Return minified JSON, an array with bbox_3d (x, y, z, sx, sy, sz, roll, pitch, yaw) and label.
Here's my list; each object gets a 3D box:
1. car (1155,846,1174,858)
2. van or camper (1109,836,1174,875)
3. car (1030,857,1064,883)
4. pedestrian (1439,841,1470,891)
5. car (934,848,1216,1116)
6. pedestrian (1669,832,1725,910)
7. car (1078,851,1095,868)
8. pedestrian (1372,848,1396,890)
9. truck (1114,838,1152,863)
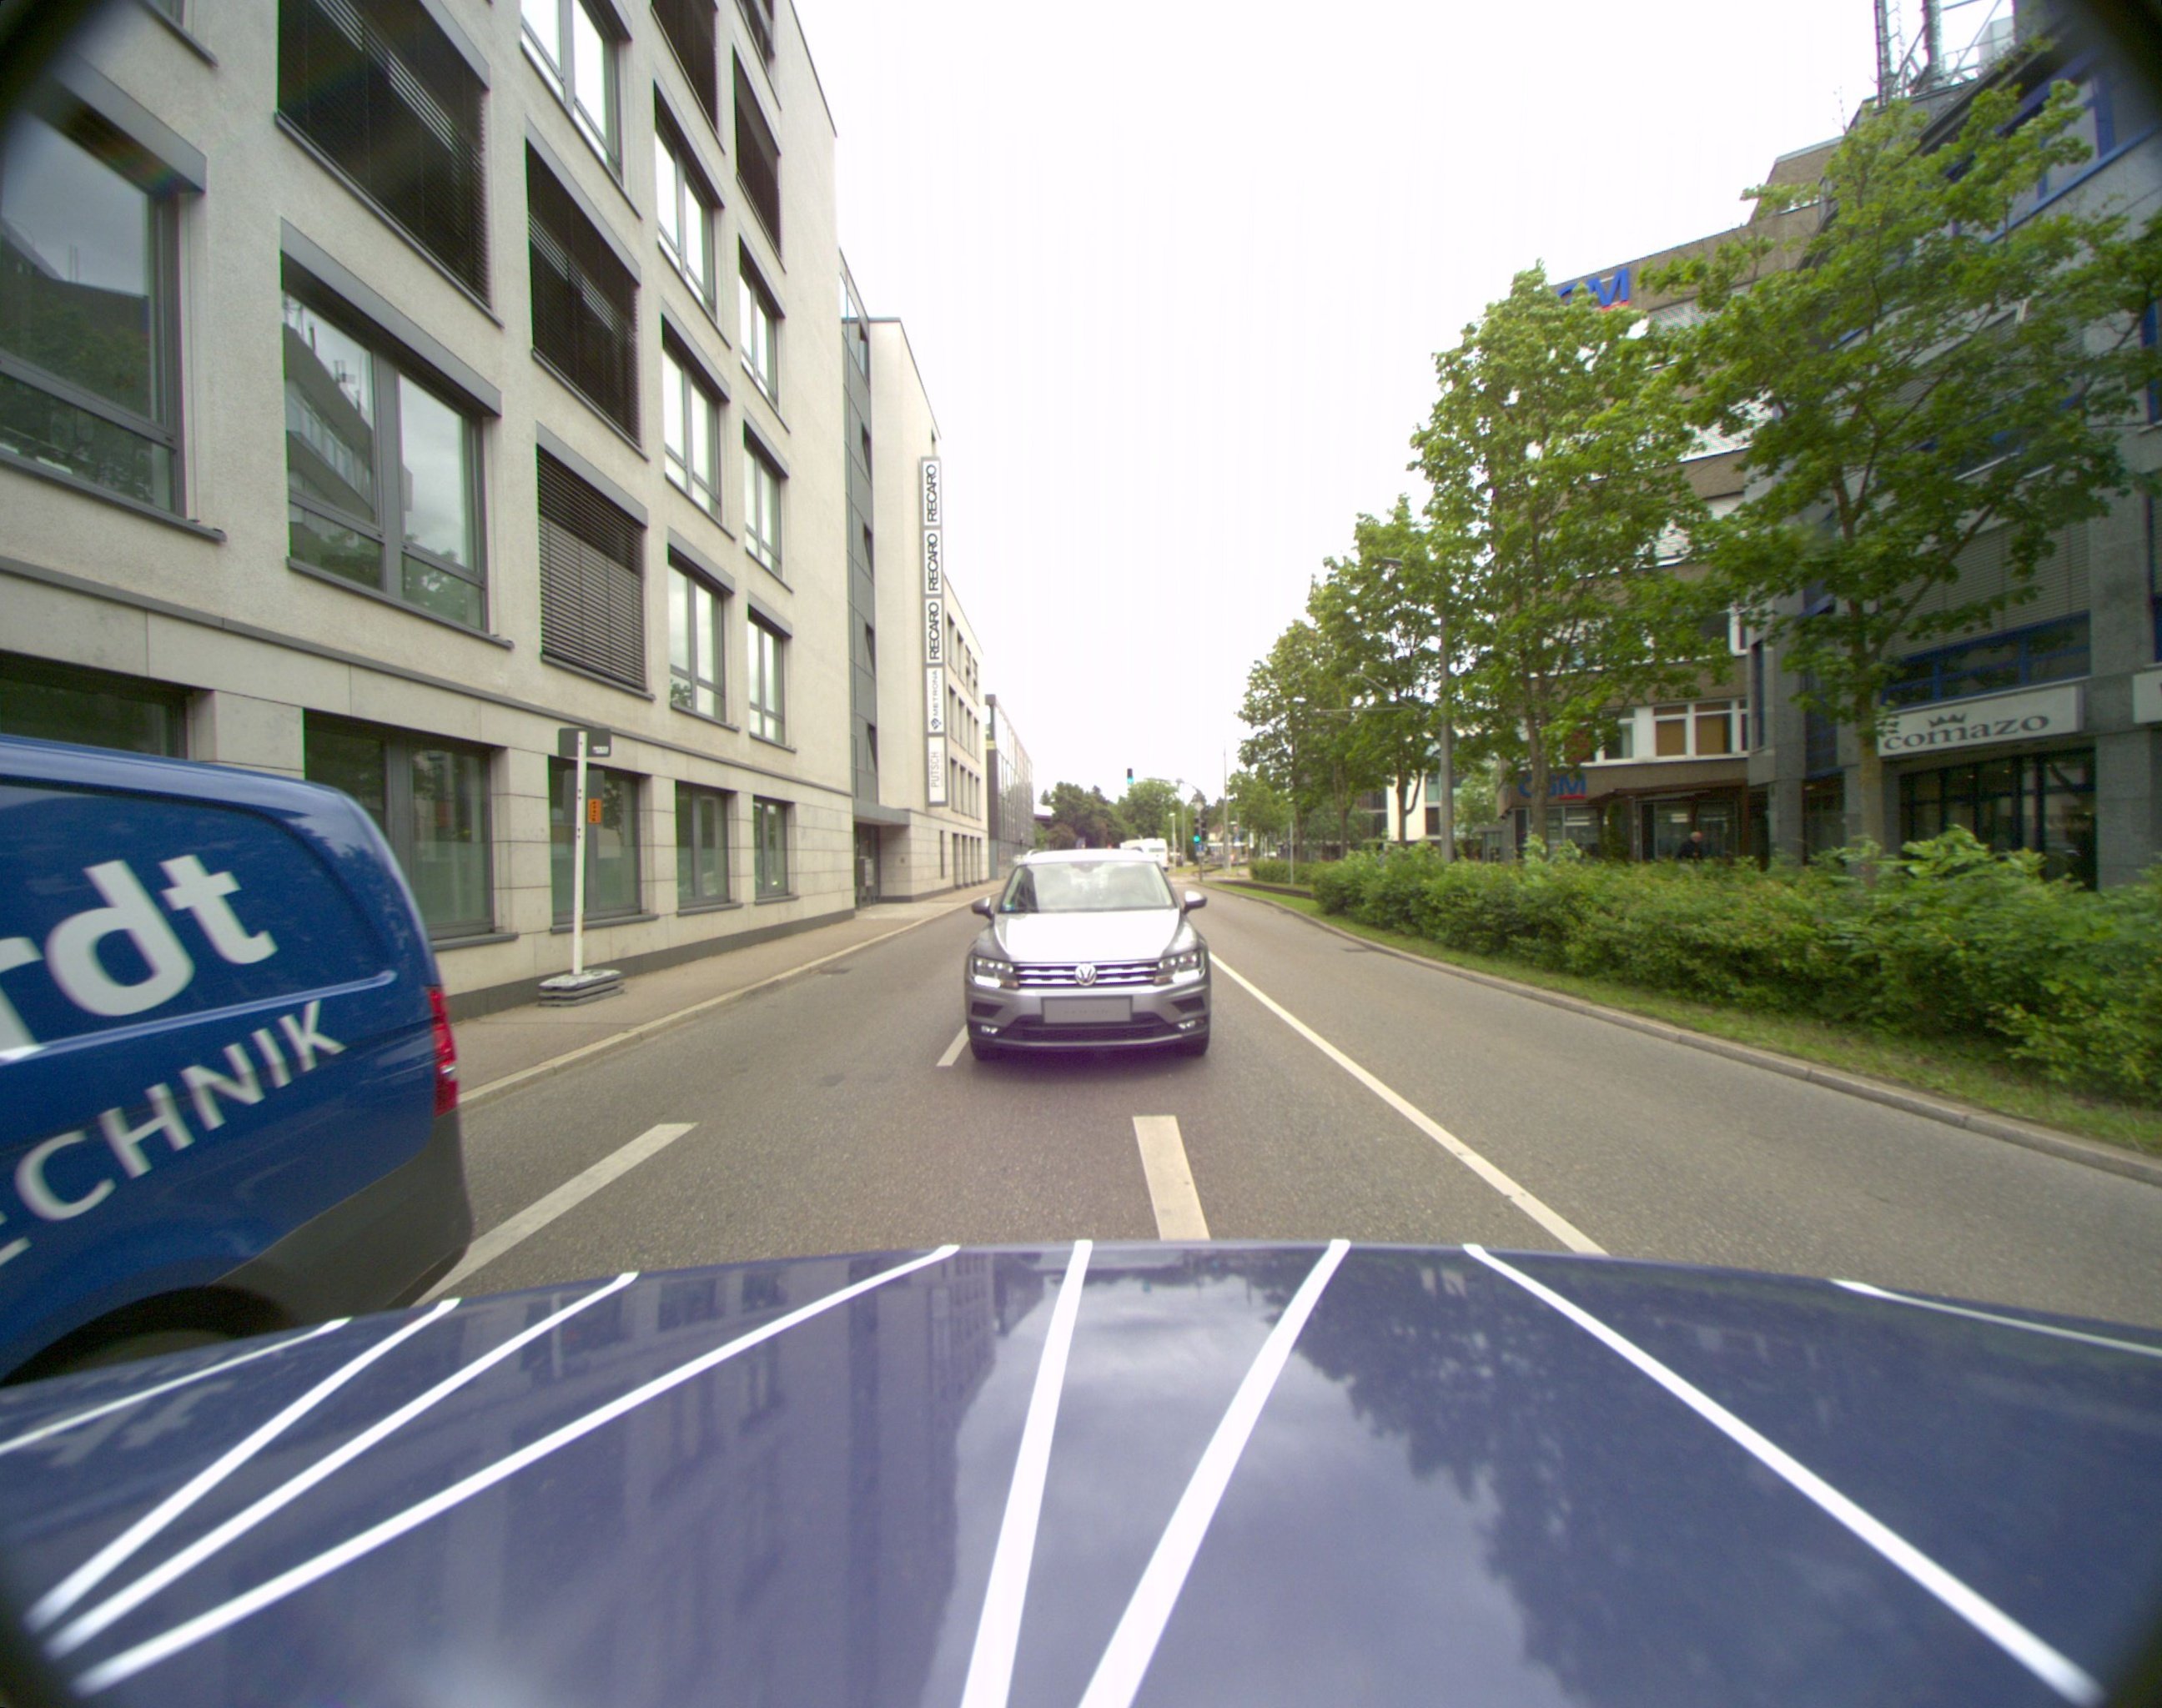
[{"bbox_3d":[14.044,-0.356,127.934,1.995,2.002,4.006,-1,1,24],"label":"car"},{"bbox_3d":[4.511,0.100,57.798,2.117,2.718,6.139,-2,1,-24],"label":"van or camper"},{"bbox_3d":[-2.128,0.994,48.443,1.890,1.483,4.000,-4,0,1],"label":"car"},{"bbox_3d":[14.771,0.472,30.077,0.816,1.912,0.731,-2,1,0],"label":"pedestrian"},{"bbox_3d":[-0.006,0.830,7.175,1.798,1.716,4.458,-1,0,1],"label":"car"},{"bbox_3d":[15.331,0.405,18.931,0.776,1.883,0.731,-2,1,-1],"label":"pedestrian"},{"bbox_3d":[0.709,0.692,96.040,1.998,2.002,4.000,-2,1,1],"label":"car"},{"bbox_3d":[13.112,0.640,32.926,0.680,1.795,0.731,-2,1,-4],"label":"pedestrian"},{"bbox_3d":[8.092,-0.603,116.919,2.317,3.626,8.024,-1,1,31],"label":"truck"}]
